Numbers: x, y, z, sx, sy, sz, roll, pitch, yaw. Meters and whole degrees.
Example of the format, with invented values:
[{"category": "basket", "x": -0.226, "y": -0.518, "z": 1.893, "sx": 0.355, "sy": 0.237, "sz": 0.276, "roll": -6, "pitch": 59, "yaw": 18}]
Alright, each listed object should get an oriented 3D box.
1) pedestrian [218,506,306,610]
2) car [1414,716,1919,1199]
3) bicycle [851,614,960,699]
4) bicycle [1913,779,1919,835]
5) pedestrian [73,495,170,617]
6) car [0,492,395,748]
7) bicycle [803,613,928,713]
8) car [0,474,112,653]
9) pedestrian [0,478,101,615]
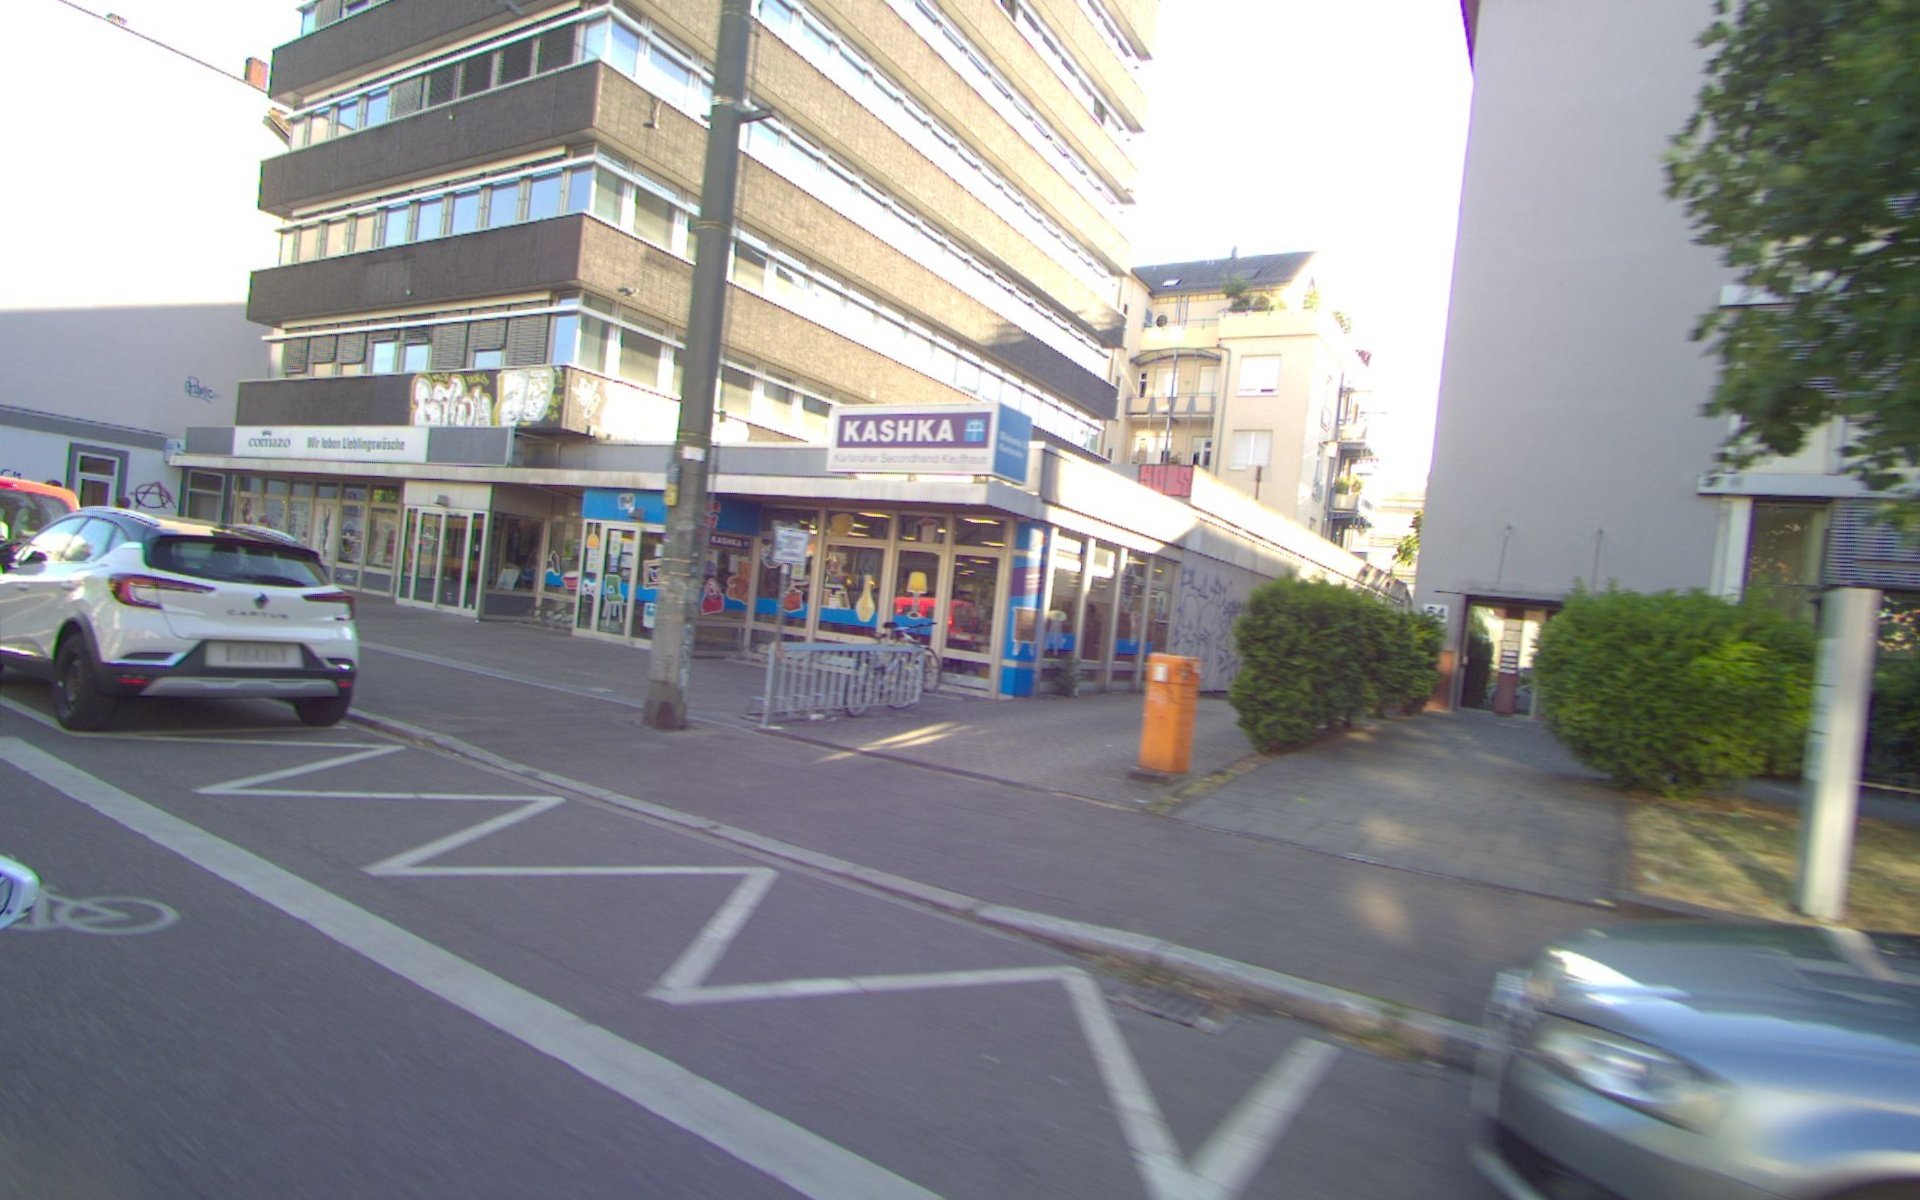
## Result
[{"category": "pedestrian", "x": -12.481, "y": -0.738, "z": 17.989, "sx": 1.016, "sy": 1.737, "sz": 0.900, "roll": 7, "pitch": 4, "yaw": 32}, {"category": "car", "x": 3.306, "y": 1.258, "z": 2.089, "sx": 4.098, "sy": 1.421, "sz": 1.677, "roll": 6, "pitch": -1, "yaw": 31}, {"category": "bicycle", "x": -0.772, "y": 0.808, "z": 14.933, "sx": 0.626, "sy": 1.110, "sz": 2.017, "roll": 7, "pitch": 2, "yaw": 25}, {"category": "bicycle", "x": 9.476, "y": 1.806, "z": 8.980, "sx": 0.361, "sy": 0.971, "sz": 1.620, "roll": 6, "pitch": 0, "yaw": 3}, {"category": "pedestrian", "x": -13.236, "y": -0.686, "z": 15.881, "sx": 1.016, "sy": 1.779, "sz": 0.811, "roll": 7, "pitch": 2, "yaw": 32}, {"category": "car", "x": -6.853, "y": 0.045, "z": 8.495, "sx": 4.256, "sy": 1.616, "sz": 1.788, "roll": 6, "pitch": 0, "yaw": 33}, {"category": "bicycle", "x": -1.138, "y": 0.783, "z": 12.590, "sx": 0.461, "sy": 1.110, "sz": 1.883, "roll": 6, "pitch": 1, "yaw": 30}, {"category": "car", "x": -11.750, "y": -0.574, "z": 11.596, "sx": 4.178, "sy": 1.830, "sz": 1.677, "roll": 6, "pitch": -1, "yaw": 32}, {"category": "pedestrian", "x": -13.661, "y": -0.795, "z": 15.110, "sx": 1.016, "sy": 1.924, "sz": 0.794, "roll": 7, "pitch": 2, "yaw": 32}]
